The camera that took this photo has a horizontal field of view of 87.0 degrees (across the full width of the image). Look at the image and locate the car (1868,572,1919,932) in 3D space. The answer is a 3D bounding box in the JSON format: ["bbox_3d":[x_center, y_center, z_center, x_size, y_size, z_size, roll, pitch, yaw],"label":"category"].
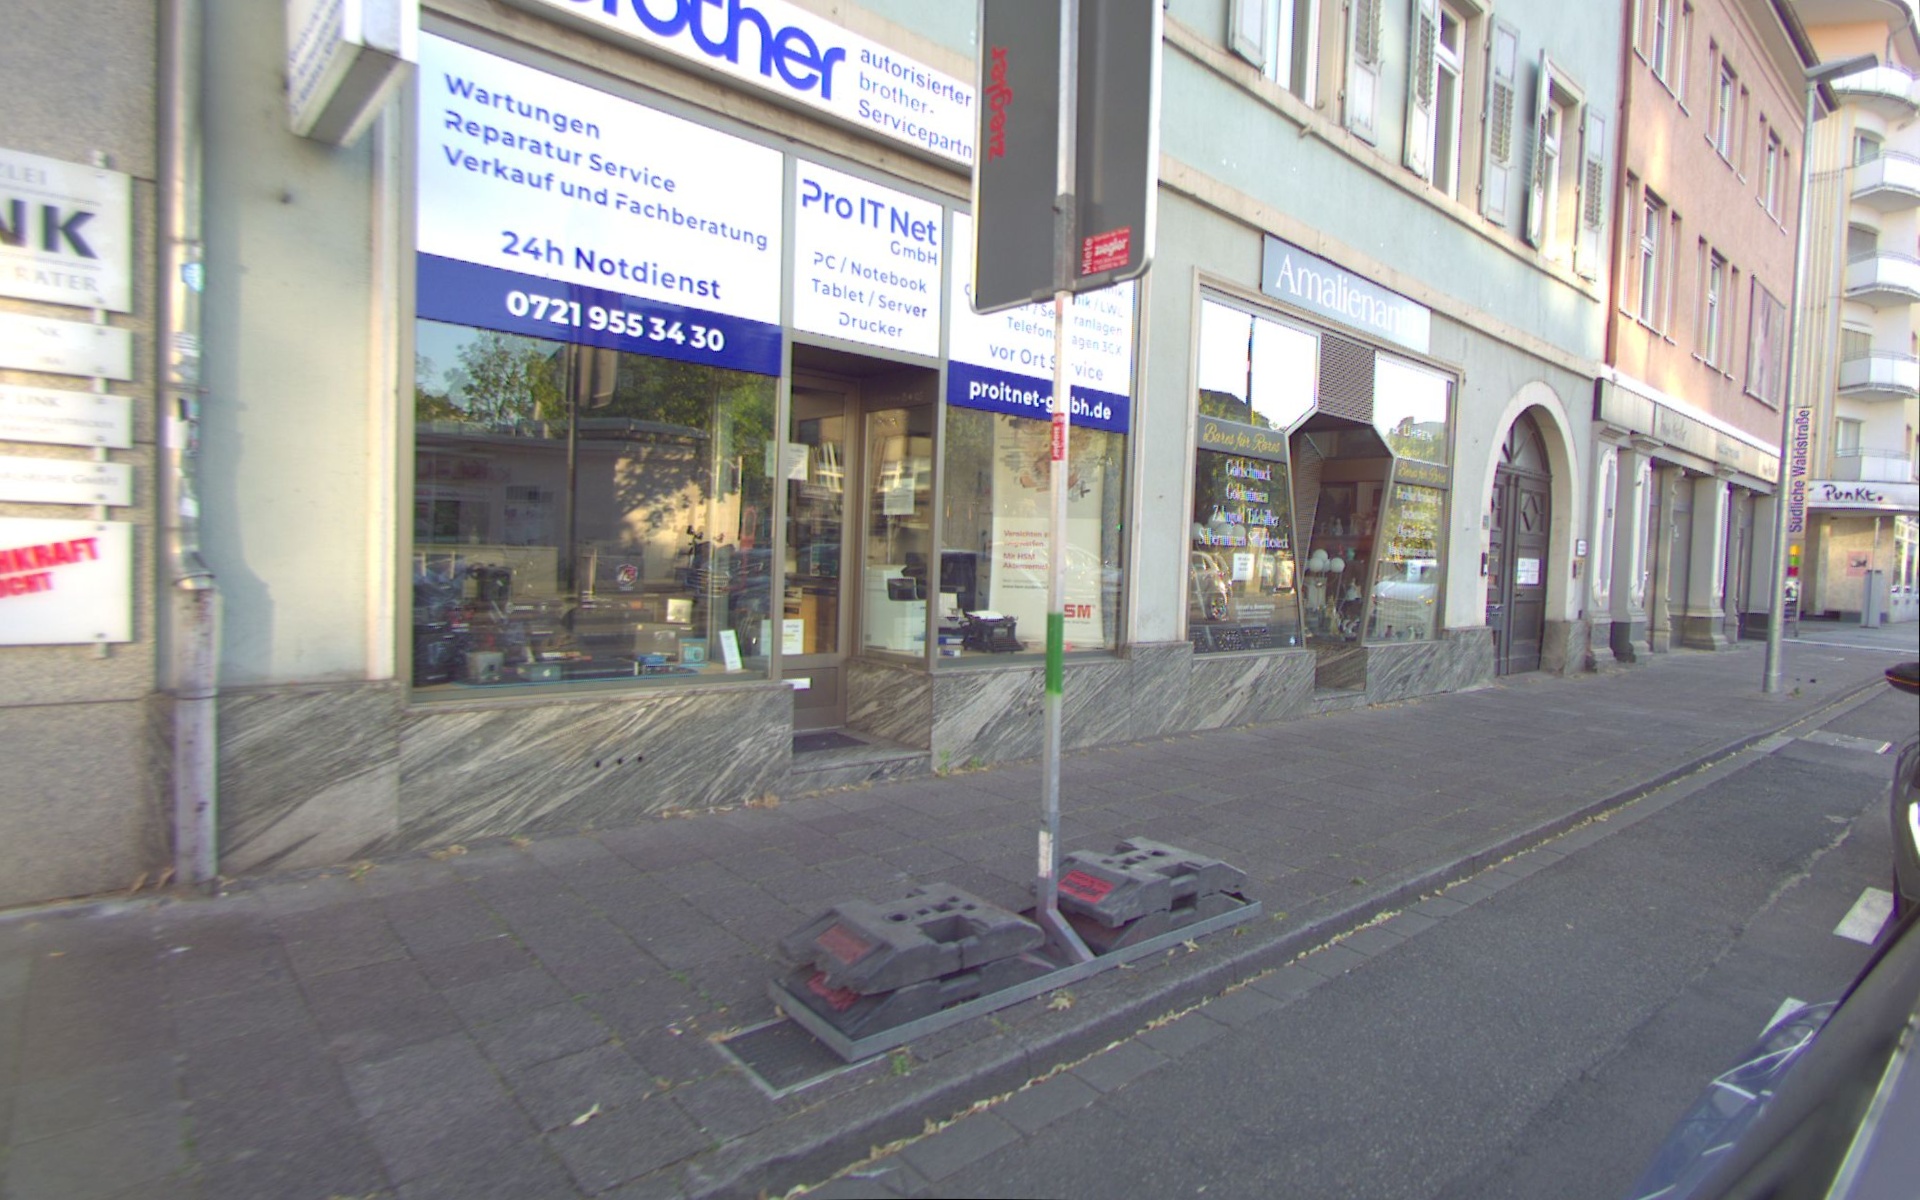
[{"bbox_3d":[5.856,0.644,4.716,3.834,1.460,1.751,0,3,-38],"label":"car"}]
